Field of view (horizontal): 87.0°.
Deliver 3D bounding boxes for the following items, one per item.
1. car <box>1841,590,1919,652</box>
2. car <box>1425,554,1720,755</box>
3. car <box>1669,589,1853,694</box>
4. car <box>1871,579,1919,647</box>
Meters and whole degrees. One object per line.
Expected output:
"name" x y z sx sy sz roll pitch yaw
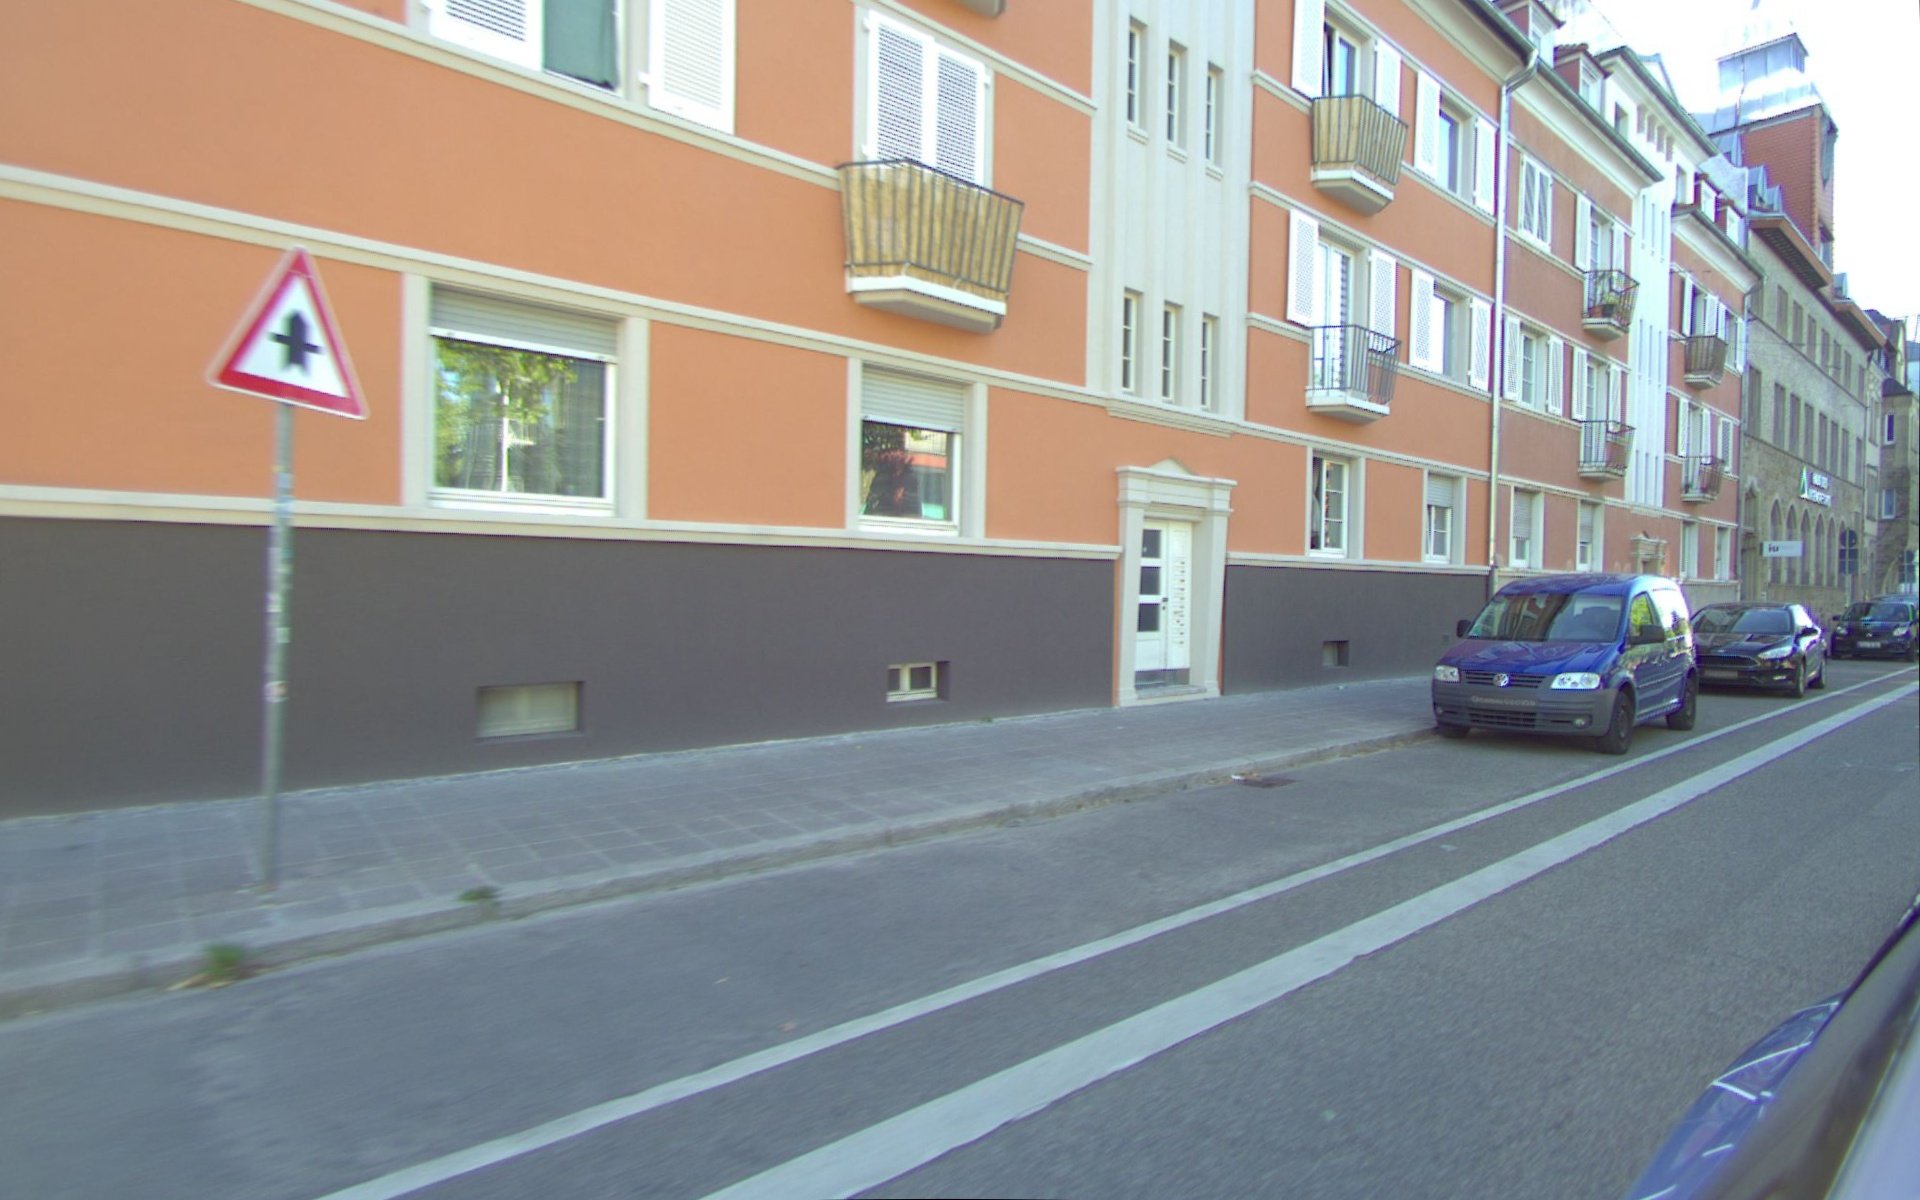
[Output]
"car" 24.642 0.524 26.633 3.650 1.530 1.635 0 0 -40
"car" 6.934 0.471 11.267 4.199 1.833 1.705 0 1 -42
"car" 13.546 0.605 16.996 4.682 1.530 1.755 0 0 -43
"car" 28.161 0.350 29.552 4.731 1.879 1.756 0 1 -41
